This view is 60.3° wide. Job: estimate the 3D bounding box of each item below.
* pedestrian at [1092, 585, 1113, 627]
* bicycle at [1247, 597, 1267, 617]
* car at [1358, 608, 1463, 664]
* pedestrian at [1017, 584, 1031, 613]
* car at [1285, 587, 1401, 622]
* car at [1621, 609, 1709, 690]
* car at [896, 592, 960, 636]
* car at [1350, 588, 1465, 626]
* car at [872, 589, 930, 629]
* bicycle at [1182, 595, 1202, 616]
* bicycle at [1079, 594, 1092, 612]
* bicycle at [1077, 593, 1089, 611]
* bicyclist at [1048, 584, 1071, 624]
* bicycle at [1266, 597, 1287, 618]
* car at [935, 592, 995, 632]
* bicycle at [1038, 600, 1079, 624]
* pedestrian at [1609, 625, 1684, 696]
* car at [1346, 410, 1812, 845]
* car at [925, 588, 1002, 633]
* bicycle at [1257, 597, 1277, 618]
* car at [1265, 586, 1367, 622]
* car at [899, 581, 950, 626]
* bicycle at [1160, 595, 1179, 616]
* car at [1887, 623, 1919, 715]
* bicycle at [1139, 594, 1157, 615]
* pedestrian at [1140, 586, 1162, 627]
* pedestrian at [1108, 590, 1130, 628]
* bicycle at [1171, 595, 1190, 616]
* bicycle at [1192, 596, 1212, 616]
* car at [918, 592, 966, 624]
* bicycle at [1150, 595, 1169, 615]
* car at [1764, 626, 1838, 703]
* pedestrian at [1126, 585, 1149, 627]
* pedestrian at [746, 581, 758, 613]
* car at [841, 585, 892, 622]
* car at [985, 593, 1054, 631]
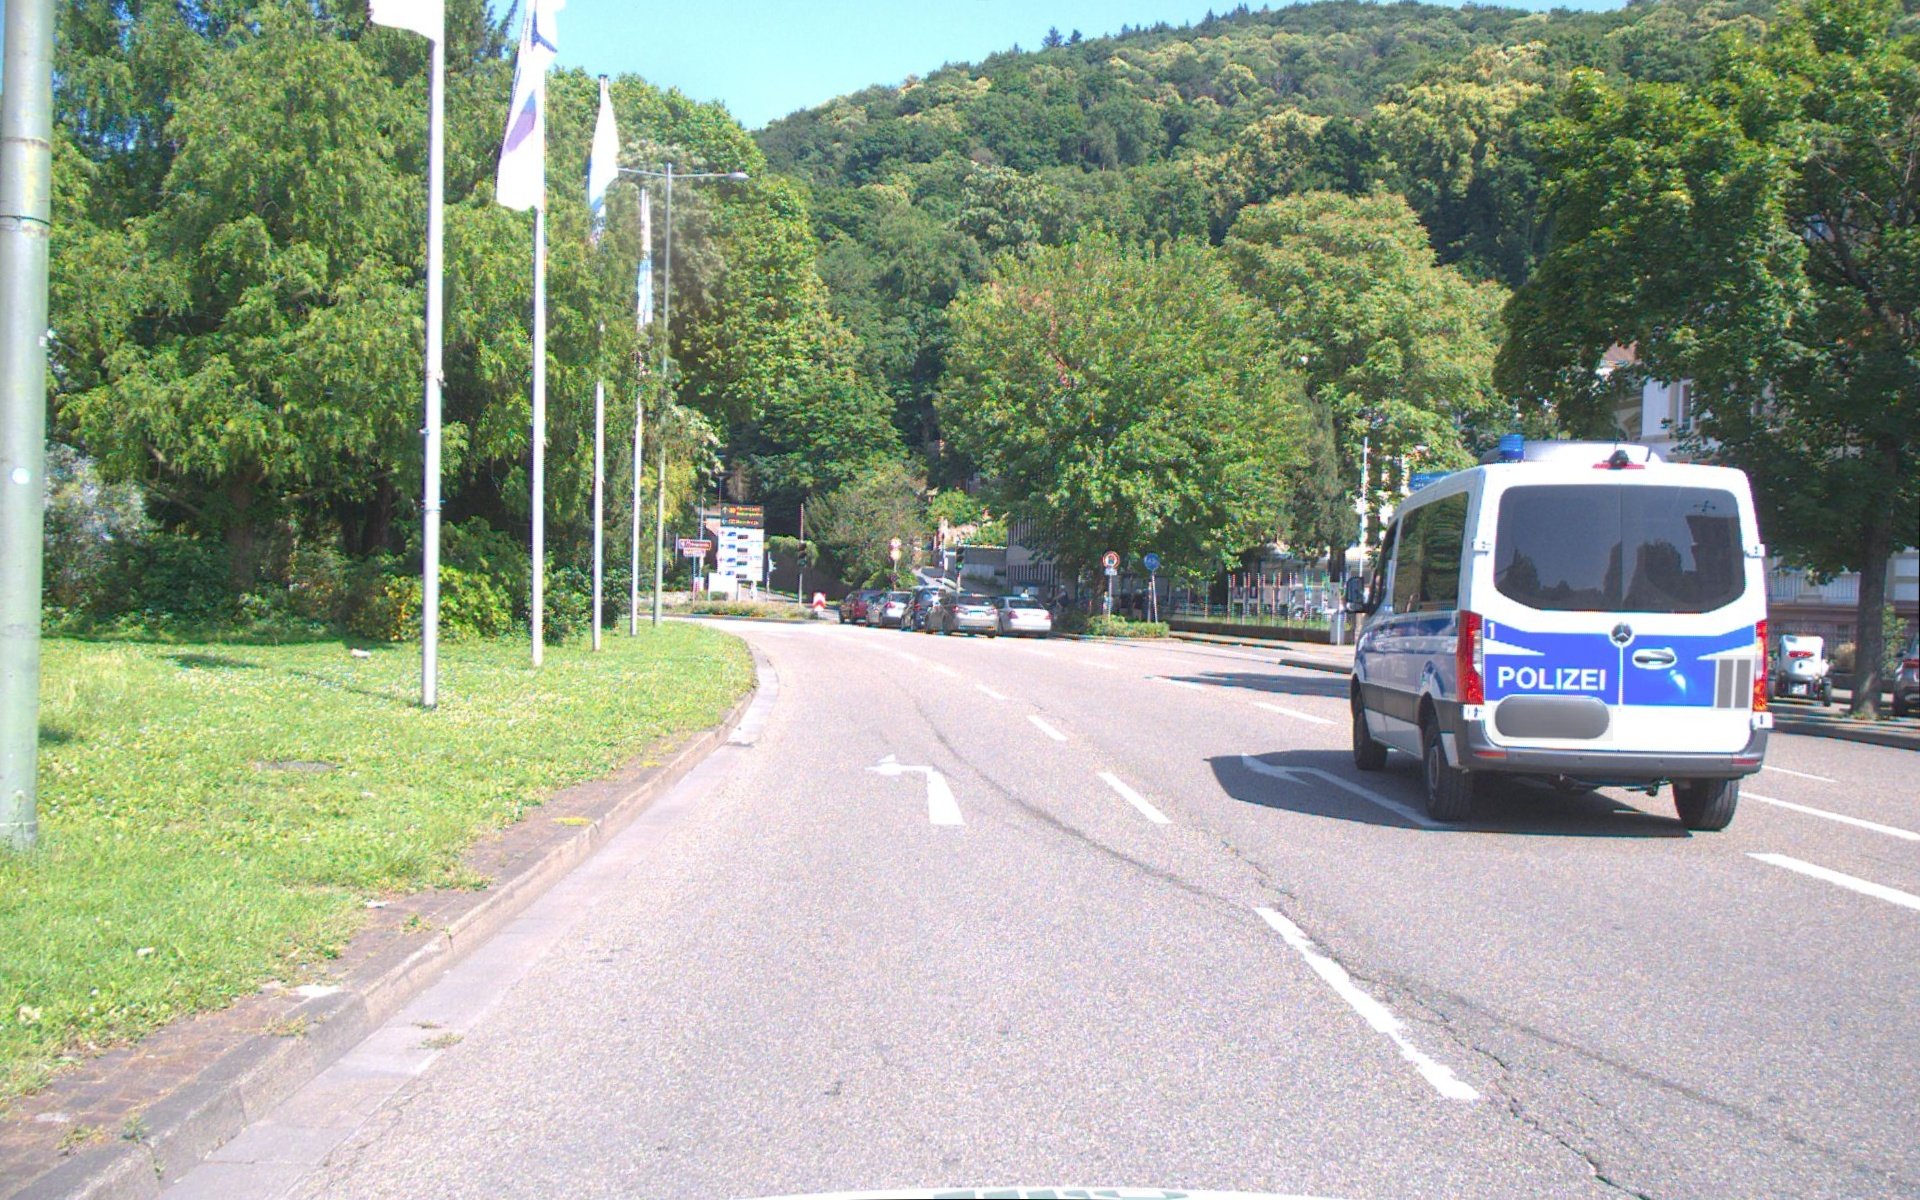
[{"bbox_3d":[6.544,0.282,75.924,0.757,1.886,0.827,2,0,-10],"label":"pedestrian"},{"bbox_3d":[16.466,0.383,91.682,0.527,1.104,1.831,1,1,-9],"label":"bicycle"},{"bbox_3d":[13.150,1.033,48.102,1.789,1.487,4.096,2,0,32],"label":"car"},{"bbox_3d":[3.381,-0.077,87.804,0.482,1.483,0.729,1,0,-22],"label":"pedestrian"},{"bbox_3d":[16.045,0.191,69.389,4.390,1.359,1.815,1,0,-14],"label":"car"},{"bbox_3d":[16.699,1.122,39.093,1.675,1.725,4.270,2,0,26],"label":"car"},{"bbox_3d":[-1.217,0.505,61.334,1.725,1.486,3.484,2,0,-11],"label":"car"},{"bbox_3d":[17.558,0.271,64.915,3.971,1.359,1.854,1,0,-14],"label":"car"},{"bbox_3d":[-2.378,0.332,66.248,1.725,1.486,3.636,2,0,-11],"label":"car"},{"bbox_3d":[12.814,0.310,91.329,0.527,1.104,1.831,1,1,-9],"label":"bicycle"},{"bbox_3d":[7.096,0.168,93.800,0.398,0.957,1.338,1,1,-10],"label":"bicycle"},{"bbox_3d":[7.122,0.124,95.762,0.398,1.030,1.338,1,1,-10],"label":"bicycle"},{"bbox_3d":[5.106,0.206,84.606,1.102,1.966,0.748,2,0,1],"label":"bicyclist"},{"bbox_3d":[17.606,0.405,91.995,0.527,1.104,1.831,1,1,-9],"label":"bicycle"},{"bbox_3d":[0.159,0.487,67.237,1.725,1.486,3.636,2,0,-11],"label":"car"},{"bbox_3d":[5.052,0.604,84.604,2.033,1.132,0.757,2,0,1],"label":"bicycle"},{"bbox_3d":[12.358,1.086,29.762,1.008,1.218,0.783,2,0,-32],"label":"pedestrian"},{"bbox_3d":[4.305,0.166,12.461,2.029,2.552,4.932,2,0,6],"label":"car"},{"bbox_3d":[0.088,0.325,55.434,1.726,1.357,3.789,2,0,-13],"label":"car"},{"bbox_3d":[17.039,0.394,91.856,0.527,1.104,1.831,1,1,-9],"label":"bicycle"},{"bbox_3d":[15.965,0.157,74.245,4.075,1.501,1.870,1,0,-16],"label":"car"},{"bbox_3d":[-1.669,0.161,76.614,1.725,1.972,3.484,2,0,-11],"label":"car"},{"bbox_3d":[11.542,0.284,91.209,0.527,1.104,1.831,1,1,-9],"label":"bicycle"},{"bbox_3d":[18.988,1.314,32.025,1.676,1.658,4.309,2,0,28],"label":"car"},{"bbox_3d":[10.343,0.260,91.004,0.527,1.104,1.831,1,1,-9],"label":"bicycle"},{"bbox_3d":[8.904,0.312,77.225,0.757,1.886,0.827,2,0,-12],"label":"pedestrian"},{"bbox_3d":[7.365,0.409,76.511,0.757,1.692,0.827,2,0,-10],"label":"pedestrian"},{"bbox_3d":[12.159,0.297,91.205,0.527,1.104,1.831,1,1,-9],"label":"bicycle"},{"bbox_3d":[13.389,0.321,91.451,0.527,1.104,1.831,1,1,-9],"label":"bicycle"},{"bbox_3d":[-0.903,0.387,82.033,1.725,1.486,3.484,2,0,-11],"label":"car"},{"bbox_3d":[10.967,0.273,91.103,0.527,1.104,1.831,1,1,-9],"label":"bicycle"},{"bbox_3d":[17.817,1.337,35.103,1.173,1.508,2.288,2,0,23],"label":"car"},{"bbox_3d":[8.176,0.277,76.217,0.757,1.886,0.827,2,0,-12],"label":"pedestrian"},{"bbox_3d":[-11.090,-0.158,88.125,0.536,1.649,0.634,1,1,-2],"label":"pedestrian"},{"bbox_3d":[-4.106,0.132,72.351,1.725,1.486,3.484,2,0,-11],"label":"car"},{"bbox_3d":[2.115,0.412,60.083,1.725,1.234,3.484,2,0,-11],"label":"car"}]
